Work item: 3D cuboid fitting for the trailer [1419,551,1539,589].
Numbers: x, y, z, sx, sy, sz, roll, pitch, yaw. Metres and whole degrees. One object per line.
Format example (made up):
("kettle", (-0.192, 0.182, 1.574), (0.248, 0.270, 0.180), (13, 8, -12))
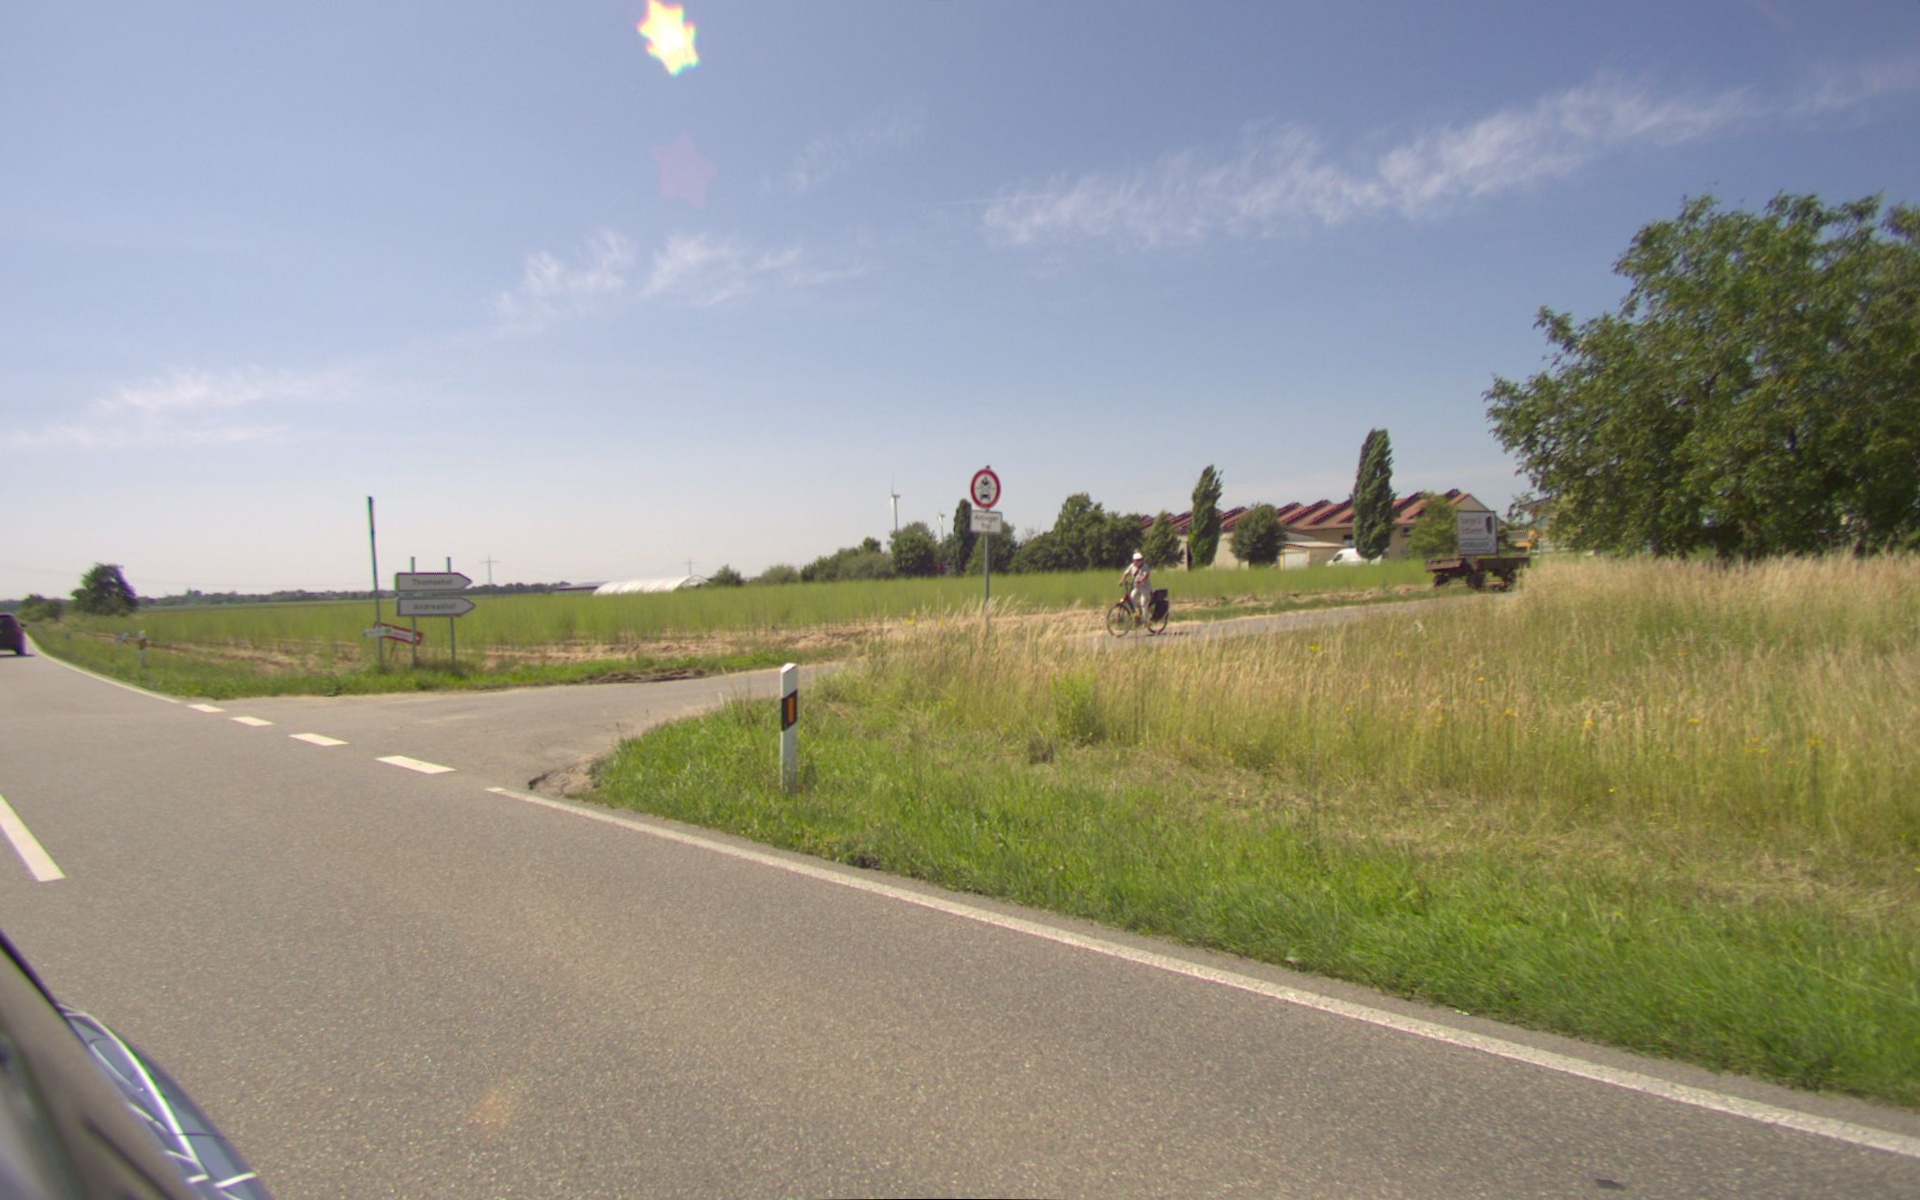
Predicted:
("trailer", (17.338, -1.013, 33.772), (3.934, 1.148, 2.005), (-2, 1, -36))

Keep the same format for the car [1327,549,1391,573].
("car", (38.911, -3.823, 98.860), (1.843, 2.076, 5.511), (-4, 2, -42))

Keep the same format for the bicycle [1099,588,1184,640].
("bicycle", (3.940, 0.283, 21.901), (1.893, 0.999, 0.684), (-4, 2, -36))

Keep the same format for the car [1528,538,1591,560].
("car", (47.529, -4.039, 80.238), (4.000, 1.549, 1.846), (-1, 2, 43))

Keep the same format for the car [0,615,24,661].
("car", (-39.237, 1.521, 40.952), (1.911, 1.765, 5.208), (-1, 0, -44))

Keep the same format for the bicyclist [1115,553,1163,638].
("bicyclist", (3.865, -0.098, 21.846), (0.690, 1.770, 0.664), (-4, 2, -36))
